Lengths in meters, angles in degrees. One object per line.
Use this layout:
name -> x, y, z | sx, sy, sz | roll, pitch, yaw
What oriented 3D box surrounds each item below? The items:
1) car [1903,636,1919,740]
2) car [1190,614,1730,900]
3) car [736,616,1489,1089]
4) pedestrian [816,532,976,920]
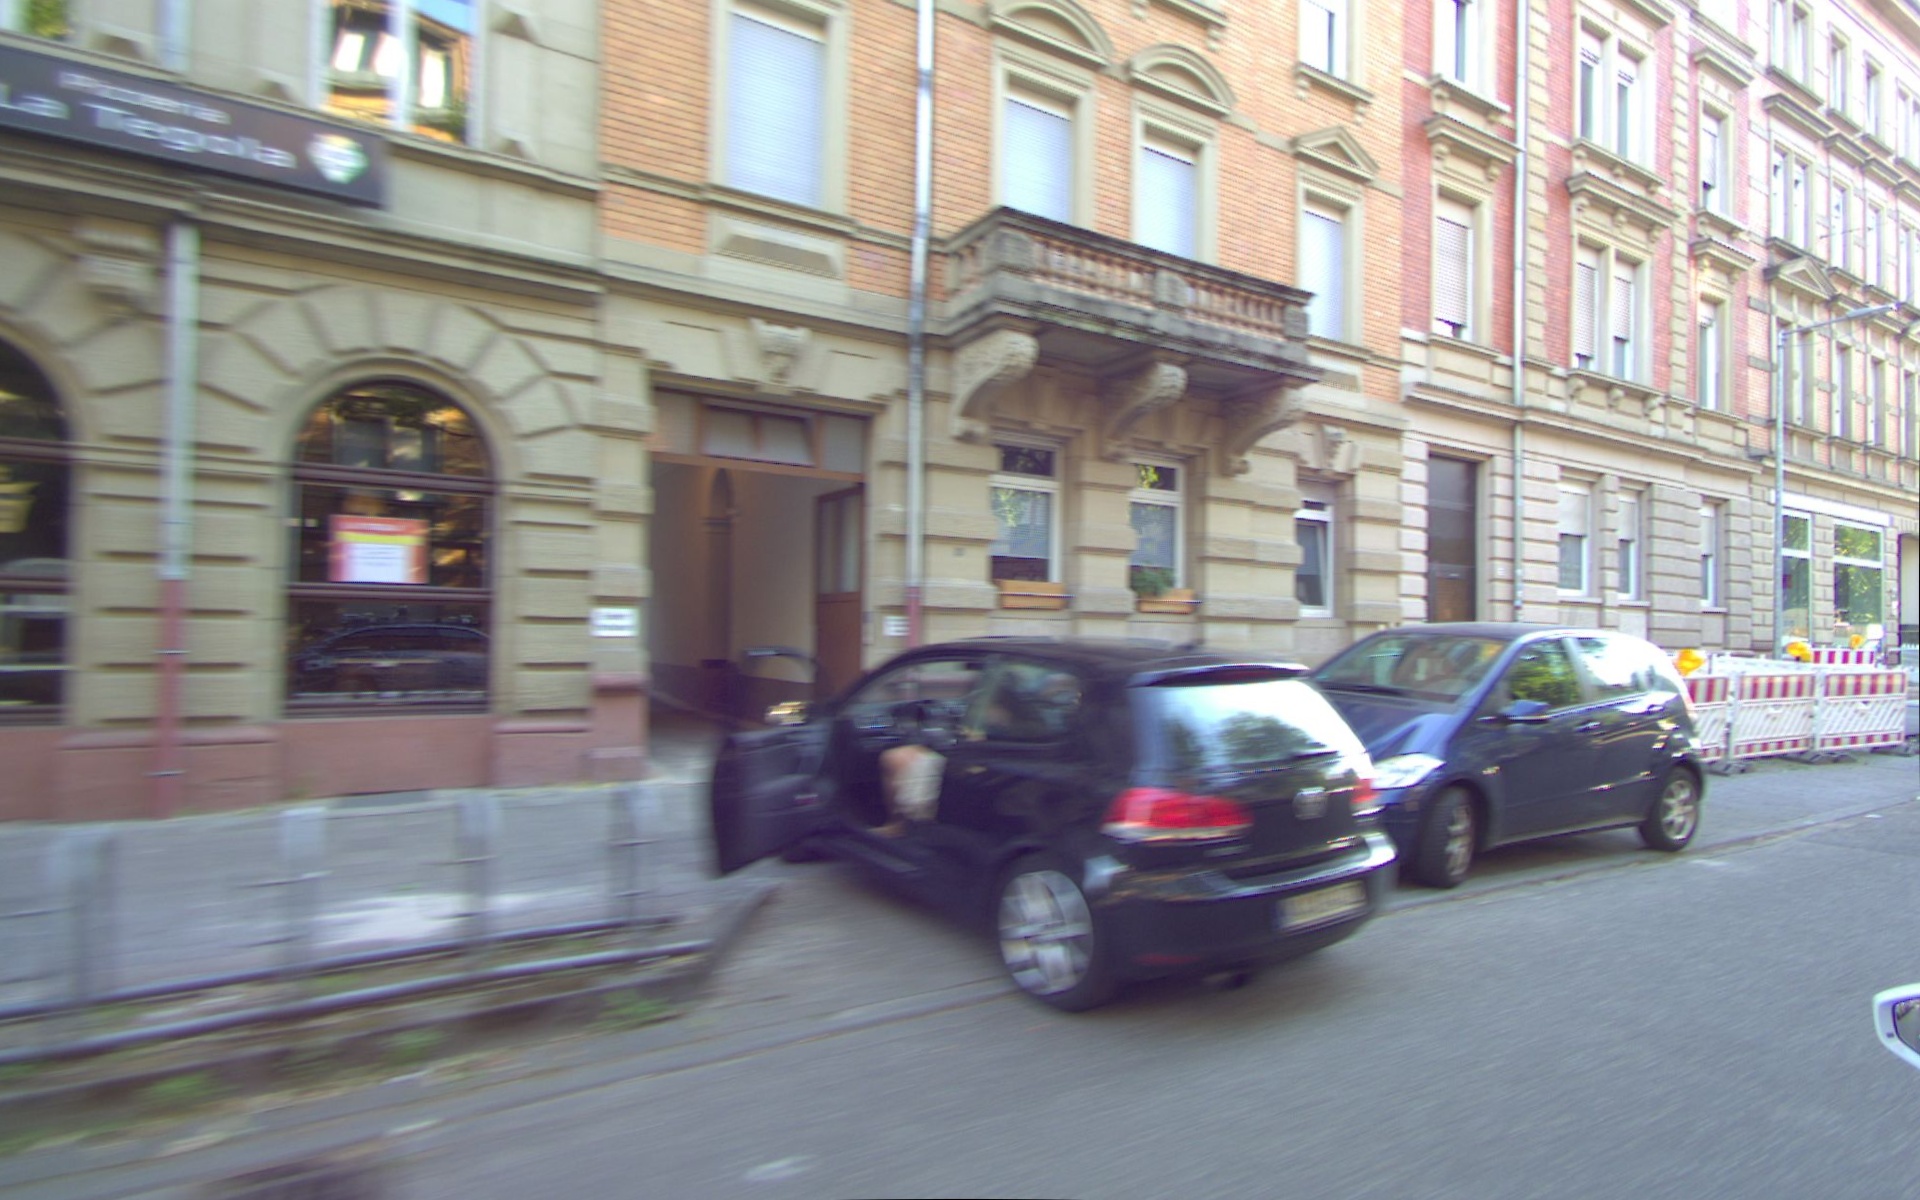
car -> 15.595, 1.275, 14.686 | 3.976, 1.473, 1.694 | 1, -2, -32
car -> 3.710, 0.930, 7.337 | 3.849, 1.588, 1.733 | 1, -2, -31
car -> 0.429, 0.904, 5.459 | 1.808, 1.550, 3.960 | 1, -2, -36
pedestrian -> -0.336, 0.632, 5.394 | 0.629, 1.912, 0.590 | -1, -2, 32
